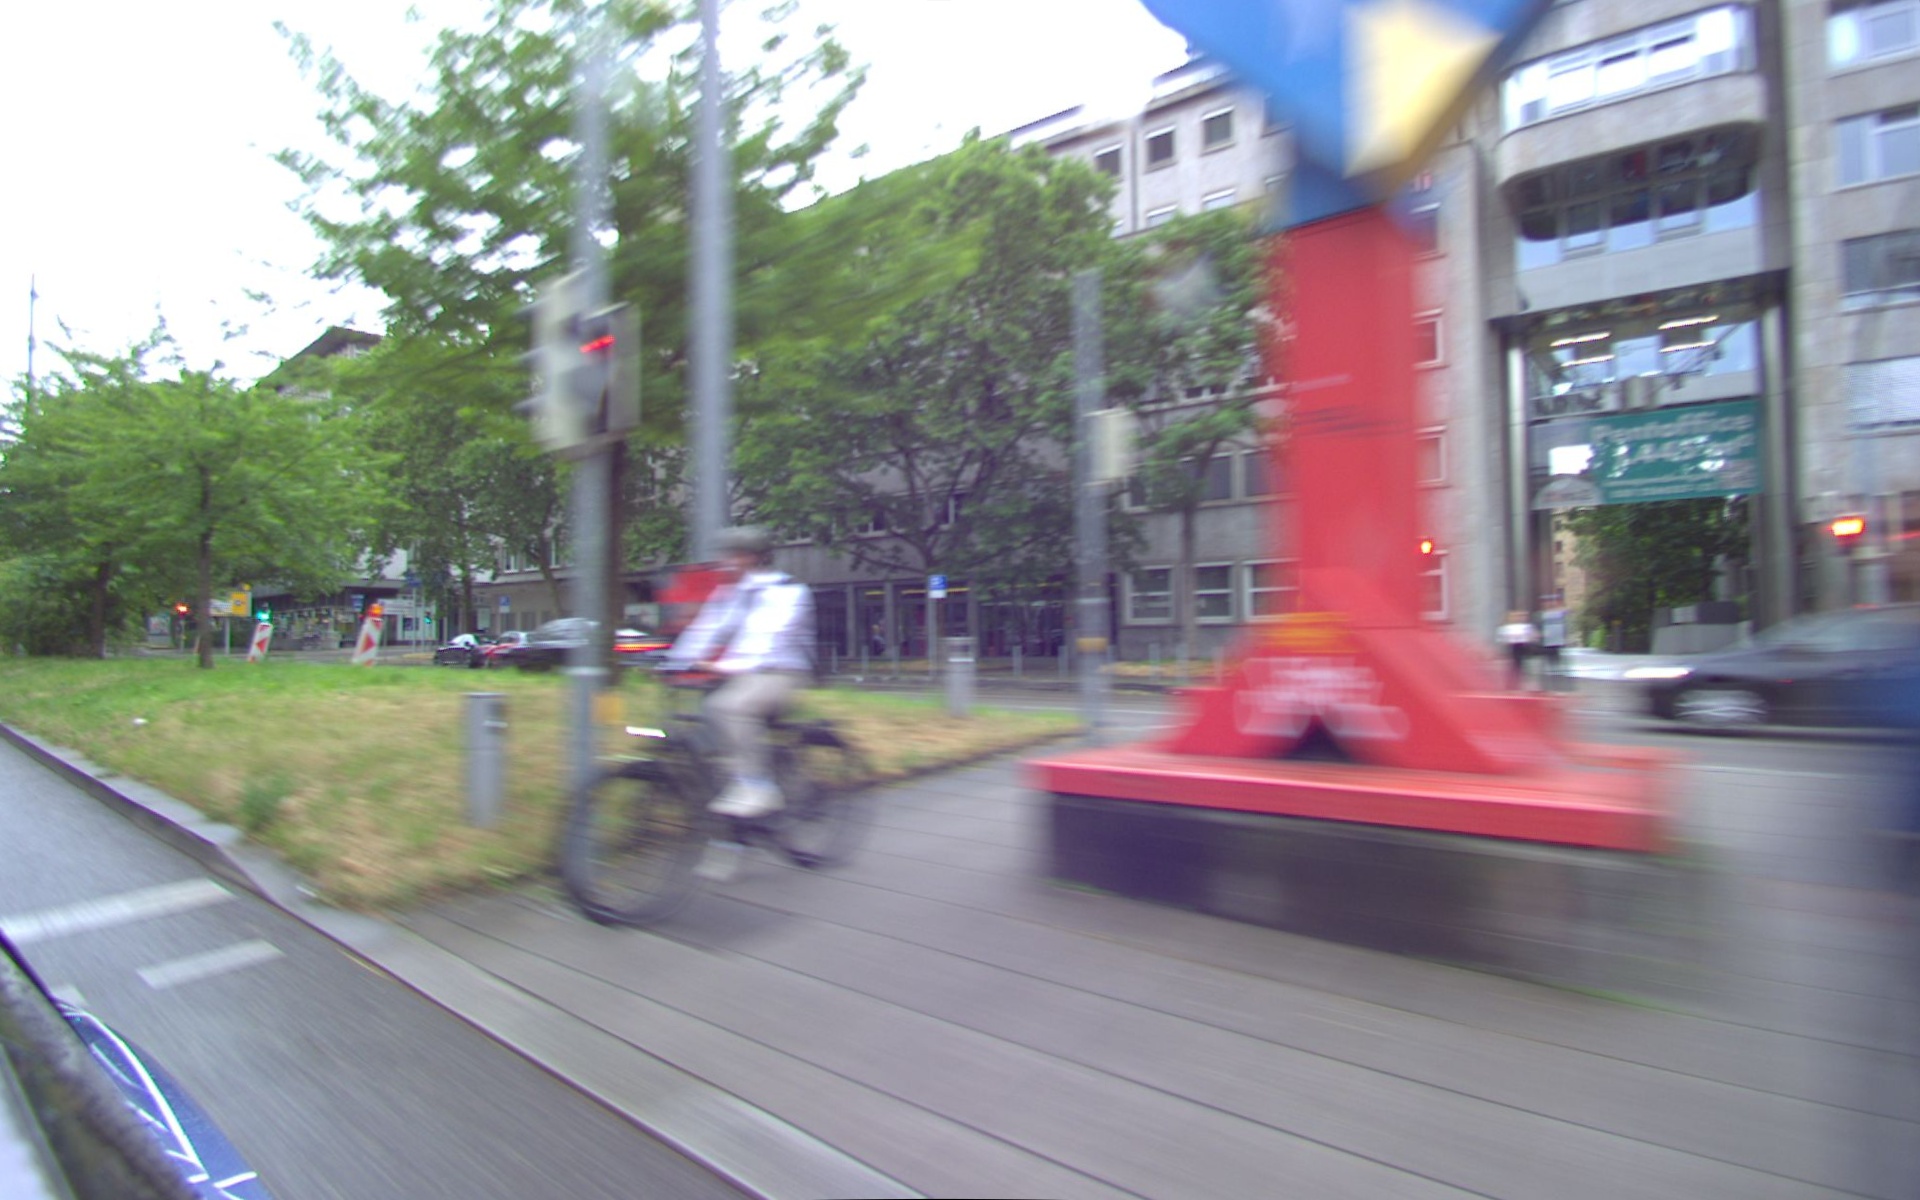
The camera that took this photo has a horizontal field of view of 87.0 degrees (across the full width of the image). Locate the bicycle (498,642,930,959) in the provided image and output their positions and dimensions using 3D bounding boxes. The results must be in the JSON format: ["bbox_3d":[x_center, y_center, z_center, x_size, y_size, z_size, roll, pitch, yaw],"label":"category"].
[{"bbox_3d":[-1.129,0.844,5.036,0.777,1.148,1.950,-2,0,43],"label":"bicycle"}]

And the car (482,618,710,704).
[{"bbox_3d":[-7.085,1.153,19.501,4.716,1.478,1.773,-2,-4,36],"label":"car"}]

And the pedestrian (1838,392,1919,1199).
[{"bbox_3d":[2.171,0.452,1.901,0.721,1.698,0.522,-2,-3,43],"label":"pedestrian"}]

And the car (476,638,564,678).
[{"bbox_3d":[-17.317,2.265,39.819,3.689,1.514,1.669,-2,-3,39],"label":"car"}]

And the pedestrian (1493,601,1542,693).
[{"bbox_3d":[10.190,0.857,18.513,0.620,1.641,0.599,-2,-3,43],"label":"pedestrian"}]

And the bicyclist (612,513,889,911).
[{"bbox_3d":[-1.047,0.480,5.143,0.812,1.762,1.064,0,2,43],"label":"bicyclist"}]

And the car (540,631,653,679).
[{"bbox_3d":[-13.280,1.983,36.868,4.463,1.634,1.843,-2,-3,39],"label":"car"}]

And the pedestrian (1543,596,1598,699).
[{"bbox_3d":[10.970,0.853,18.185,0.721,1.801,0.522,-2,-3,43],"label":"pedestrian"}]

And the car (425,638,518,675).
[{"bbox_3d":[-20.720,2.372,42.846,4.570,1.498,1.768,-2,-3,39],"label":"car"}]

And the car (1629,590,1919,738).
[{"bbox_3d":[9.565,0.670,10.703,3.995,1.425,1.772,-2,-4,38],"label":"car"}]
